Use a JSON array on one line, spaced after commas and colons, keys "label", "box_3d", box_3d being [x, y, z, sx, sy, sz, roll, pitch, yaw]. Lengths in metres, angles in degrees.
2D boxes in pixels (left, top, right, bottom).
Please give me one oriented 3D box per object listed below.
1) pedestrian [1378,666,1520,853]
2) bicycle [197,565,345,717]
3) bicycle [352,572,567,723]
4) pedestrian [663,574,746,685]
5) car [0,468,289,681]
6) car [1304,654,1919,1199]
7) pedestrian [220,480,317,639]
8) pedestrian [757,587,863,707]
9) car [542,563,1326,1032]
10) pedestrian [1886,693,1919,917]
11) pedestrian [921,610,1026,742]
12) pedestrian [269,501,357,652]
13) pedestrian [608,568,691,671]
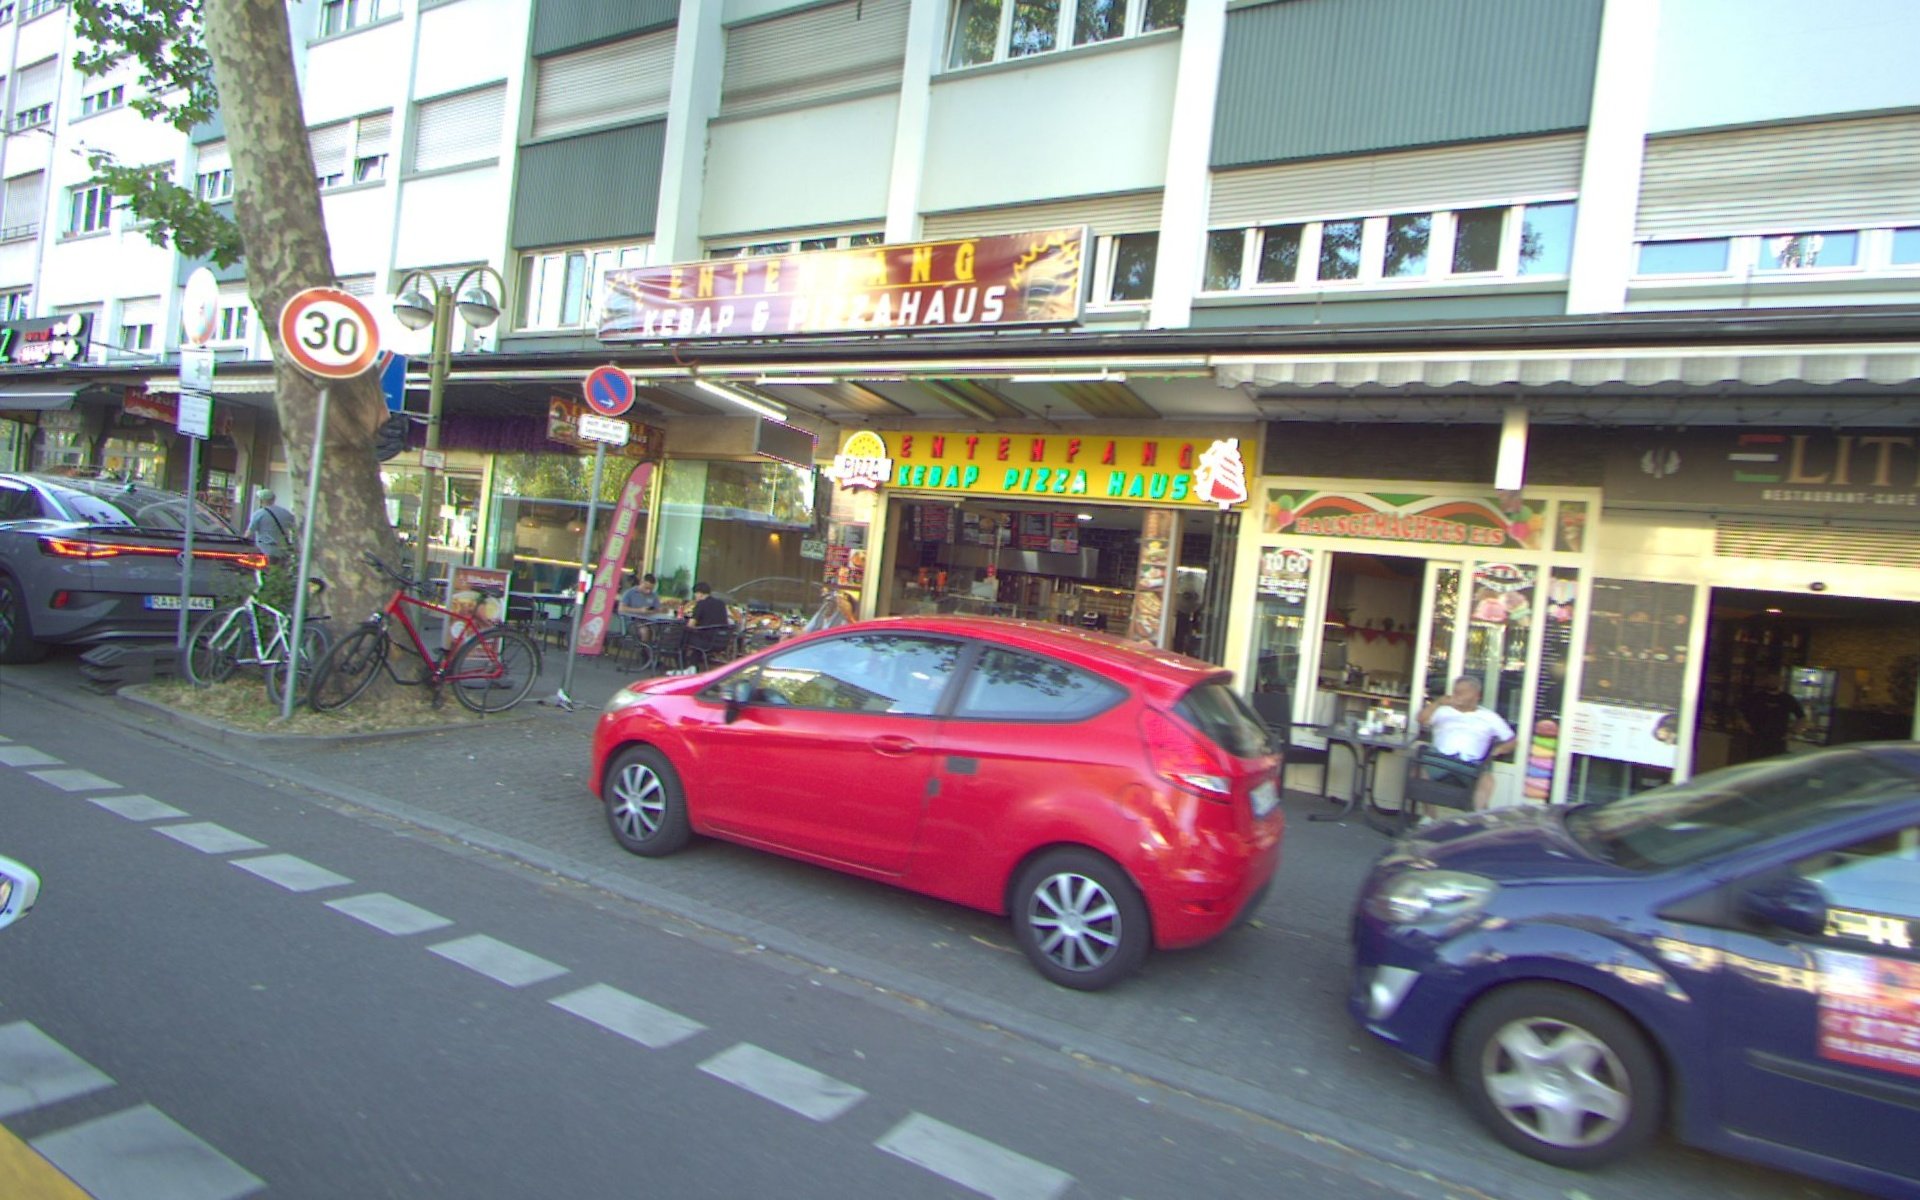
[{"label": "pedestrian", "box_3d": [3.944, 1.217, 8.073, 0.766, 1.249, 1.202, 7, 3, 33]}, {"label": "bicycle", "box_3d": [-5.129, 0.285, 7.478, 1.110, 0.941, 0.295, 9, 6, 21]}, {"label": "bicycle", "box_3d": [-3.920, 0.370, 7.963, 0.291, 1.082, 1.455, 12, 7, 42]}, {"label": "pedestrian", "box_3d": [-3.098, 0.353, 12.207, 0.701, 1.260, 0.614, 7, 4, 40]}, {"label": "car", "box_3d": [-8.572, -0.382, 9.570, 4.223, 1.619, 1.742, 7, 2, 27]}, {"label": "car", "box_3d": [3.201, 1.170, 3.351, 3.543, 1.486, 1.620, 7, 2, 28]}, {"label": "pedestrian", "box_3d": [-9.368, -0.538, 13.637, 0.684, 2.039, 0.692, 7, 1, 28]}, {"label": "pedestrian", "box_3d": [-1.683, 0.522, 11.283, 0.861, 1.237, 0.688, 2, 4, -45]}, {"label": "car", "box_3d": [-0.195, 0.748, 5.418, 3.780, 1.448, 1.668, 7, 2, 27]}, {"label": "pedestrian", "box_3d": [6.886, 1.285, 6.805, 0.579, 1.759, 0.596, 8, 4, 29]}, {"label": "pedestrian", "box_3d": [0.134, 0.721, 9.839, 0.740, 1.172, 0.593, 7, 3, 32]}, {"label": "pedestrian", "box_3d": [-9.205, -0.321, 14.325, 0.684, 2.039, 0.614, 7, 1, 25]}, {"label": "pedestrian", "box_3d": [-3.945, 0.241, 12.764, 0.694, 1.220, 0.675, 7, 4, 41]}]
